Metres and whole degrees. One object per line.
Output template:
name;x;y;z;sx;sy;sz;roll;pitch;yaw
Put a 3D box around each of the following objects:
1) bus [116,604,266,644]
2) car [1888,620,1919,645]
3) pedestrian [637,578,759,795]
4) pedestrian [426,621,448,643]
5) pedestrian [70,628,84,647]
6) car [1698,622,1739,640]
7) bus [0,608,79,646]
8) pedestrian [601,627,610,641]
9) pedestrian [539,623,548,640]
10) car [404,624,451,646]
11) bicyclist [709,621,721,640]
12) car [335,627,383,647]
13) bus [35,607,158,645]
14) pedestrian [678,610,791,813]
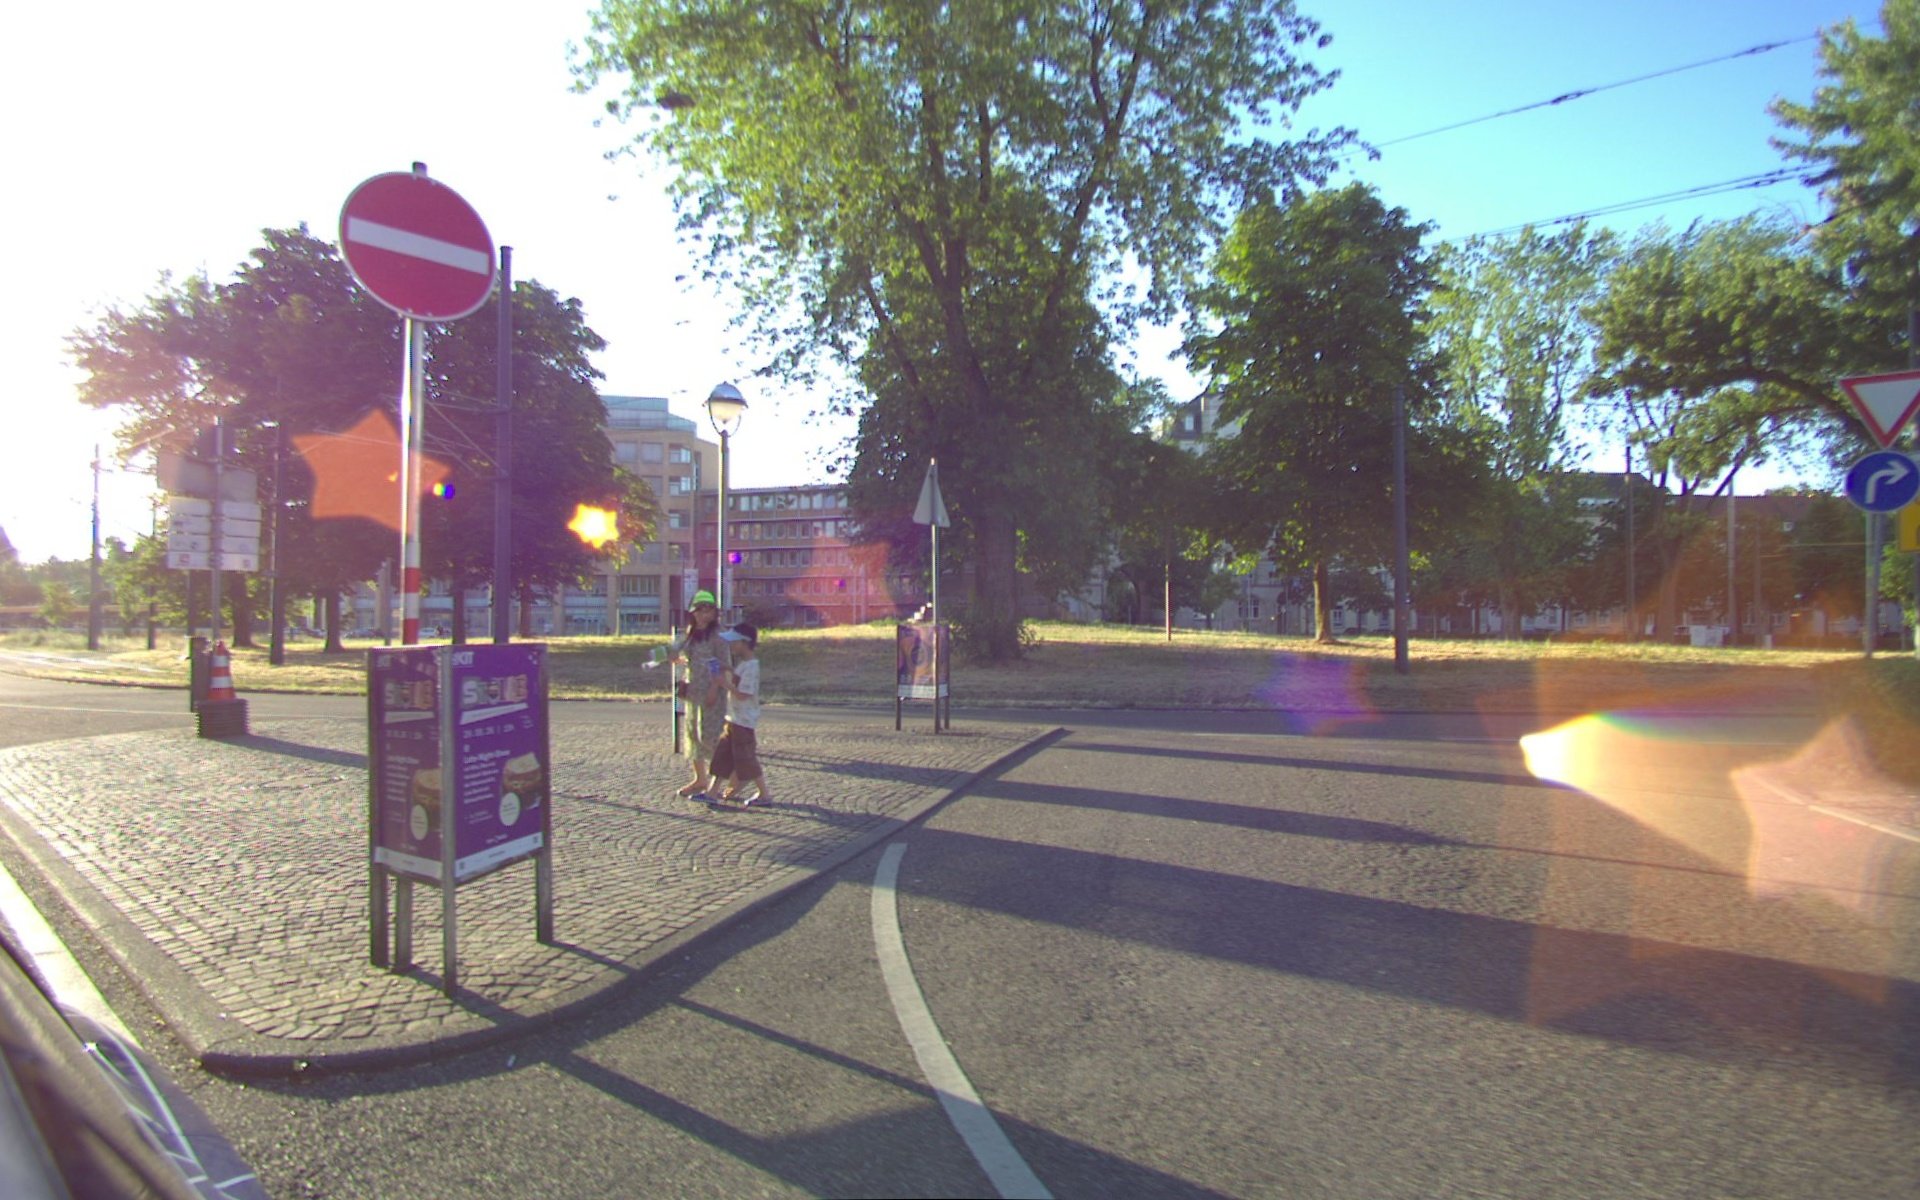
bus;-70.738;2.199;93.071;13.592;3.388;3.740;-1;-1;17
car;69.701;2.342;73.331;1.983;1.719;3.978;-1;-2;17
pedestrian;-2.029;0.635;7.820;0.683;1.571;0.701;0;-2;-37
pedestrian;-50.710;3.109;98.086;1.622;2.110;1.052;-2;-1;21
pedestrian;-70.337;2.994;80.614;0.698;1.470;0.664;-2;-2;37
car;75.977;3.051;101.443;1.983;1.697;3.978;-1;-1;17
bus;-93.211;2.707;99.760;12.025;3.482;3.740;-1;-1;17
pedestrian;-34.757;3.292;99.194;0.677;1.334;0.564;-1;-1;16
pedestrian;-41.630;3.173;101.193;0.614;1.705;0.527;-2;-1;24
car;-53.221;3.493;101.092;3.869;2.029;1.849;-1;-1;11
bicyclist;-22.372;2.749;92.462;0.884;1.703;0.954;1;-1;-6
car;-61.241;3.762;103.144;3.957;2.029;1.904;-1;-1;11
bus;-82.340;2.481;96.520;10.640;3.356;3.741;-1;-1;16
pedestrian;-1.631;0.765;7.298;0.604;1.375;0.565;0;-2;-36
